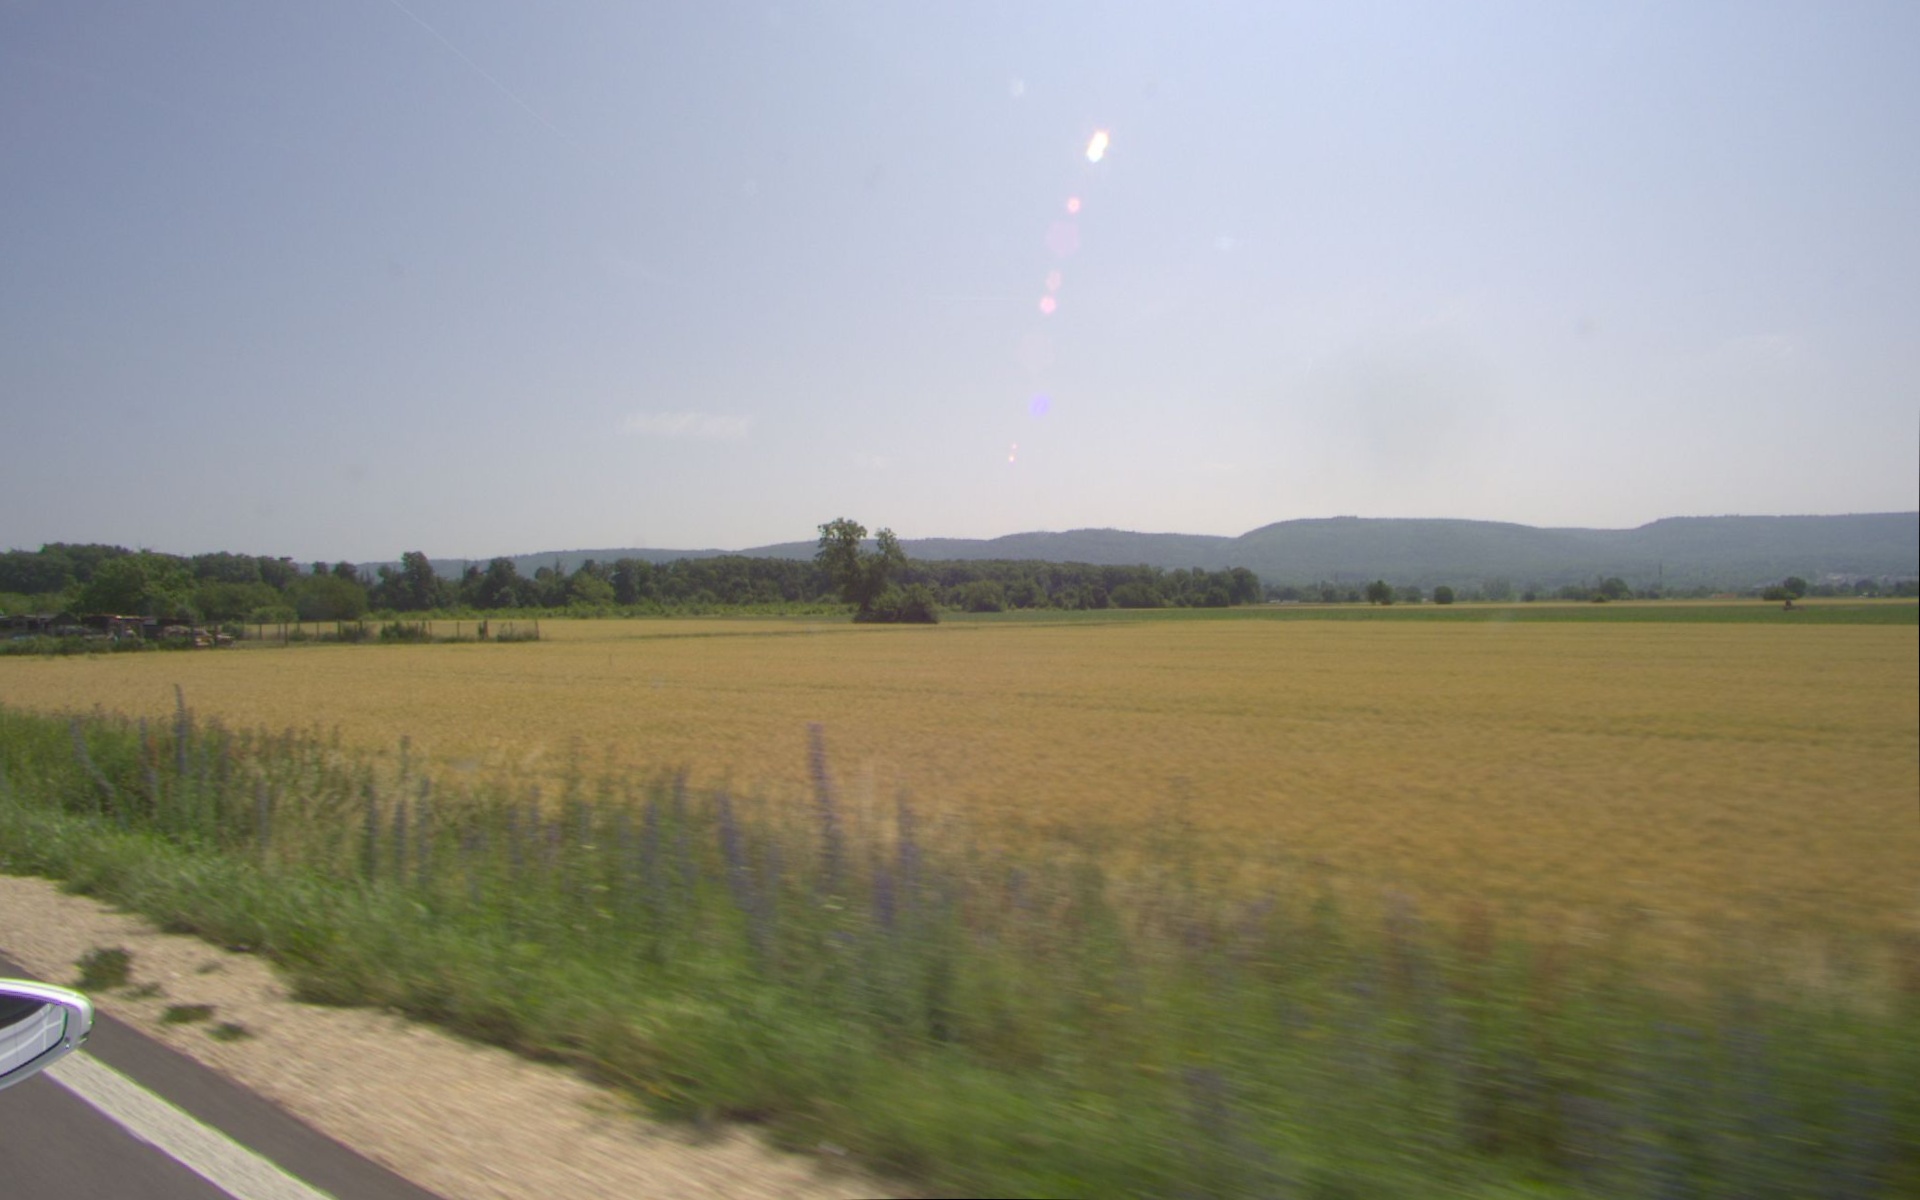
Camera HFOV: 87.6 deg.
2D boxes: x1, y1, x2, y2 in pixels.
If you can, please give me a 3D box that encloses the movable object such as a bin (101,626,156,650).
[{"bbox_3d":[-55.061,2.516,66.309,3.602,1.516,1.570,-1,-1,28],"label":"movable object such as a bin"}]
